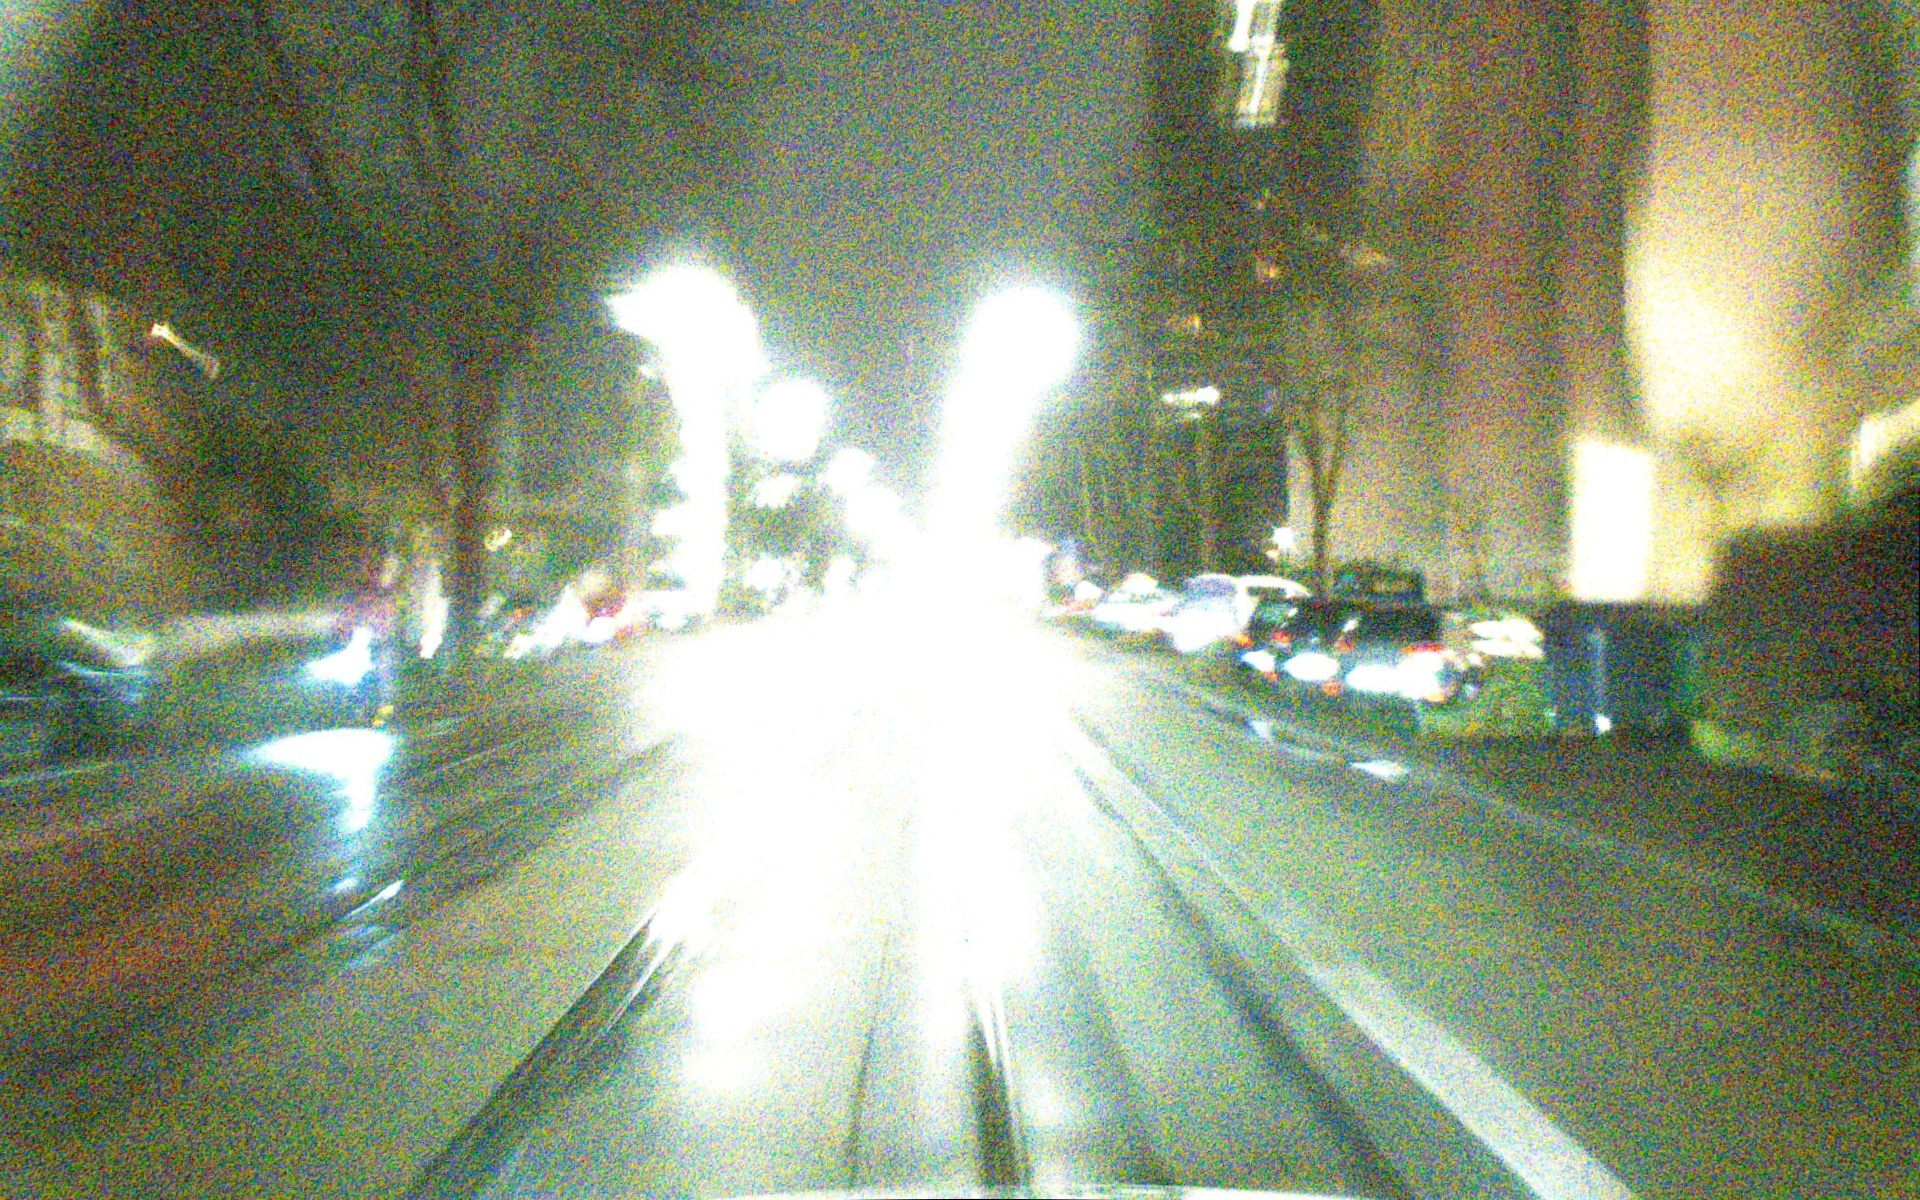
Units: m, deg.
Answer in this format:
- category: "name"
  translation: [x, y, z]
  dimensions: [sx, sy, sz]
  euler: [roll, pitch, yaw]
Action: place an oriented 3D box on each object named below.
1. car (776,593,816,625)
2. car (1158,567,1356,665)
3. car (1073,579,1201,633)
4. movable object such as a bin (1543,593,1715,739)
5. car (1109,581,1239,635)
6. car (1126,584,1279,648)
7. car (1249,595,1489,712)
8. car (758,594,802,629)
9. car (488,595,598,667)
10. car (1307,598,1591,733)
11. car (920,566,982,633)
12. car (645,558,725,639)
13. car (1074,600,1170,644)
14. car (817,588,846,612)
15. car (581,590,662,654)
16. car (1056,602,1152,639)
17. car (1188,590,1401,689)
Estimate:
- category: "car"
  translation: [-9.836, 0.530, 99.488]
  dimensions: [1.959, 1.816, 3.999]
  euler: [2, -1, -1]
- category: "car"
  translation: [6.241, 0.347, 34.563]
  dimensions: [4.139, 1.871, 1.933]
  euler: [2, 0, -43]
- category: "car"
  translation: [5.429, 0.180, 50.494]
  dimensions: [3.856, 1.560, 1.793]
  euler: [1, 0, -43]
- category: "movable object such as a bin"
  translation: [6.875, 0.647, 17.025]
  dimensions: [1.328, 1.432, 1.020]
  euler: [0, 0, -21]
- category: "car"
  translation: [6.205, 0.247, 47.677]
  dimensions: [1.790, 1.458, 3.830]
  euler: [2, 0, 43]
- category: "car"
  translation: [6.047, 0.353, 40.860]
  dimensions: [1.661, 1.428, 4.434]
  euler: [1, 2, 40]
- category: "car"
  translation: [5.875, 0.691, 23.516]
  dimensions: [1.775, 1.514, 3.834]
  euler: [0, 0, 41]
- category: "car"
  translation: [-9.870, 0.648, 91.100]
  dimensions: [2.066, 1.795, 4.962]
  euler: [2, -1, -3]
- category: "car"
  translation: [-9.147, 0.654, 36.526]
  dimensions: [1.577, 1.453, 3.806]
  euler: [2, 0, -2]
- category: "car"
  translation: [6.155, 0.783, 20.615]
  dimensions: [3.760, 1.483, 1.742]
  euler: [2, 0, -43]
- category: "car"
  translation: [-0.399, -0.028, 64.319]
  dimensions: [2.172, 2.484, 5.381]
  euler: [1, 0, -3]
- category: "car"
  translation: [-9.391, -0.080, 56.884]
  dimensions: [1.984, 2.542, 5.604]
  euler: [2, 1, -3]
- category: "car"
  translation: [6.556, 0.902, 66.680]
  dimensions: [2.018, 1.652, 3.807]
  euler: [2, 0, 41]
- category: "car"
  translation: [-10.100, 0.039, 130.610]
  dimensions: [1.982, 1.791, 3.999]
  euler: [2, -1, -1]
- category: "car"
  translation: [-9.121, 0.561, 44.764]
  dimensions: [1.608, 1.533, 3.617]
  euler: [1, 2, -3]
- category: "car"
  translation: [6.362, 0.913, 72.796]
  dimensions: [1.919, 1.480, 4.217]
  euler: [2, 0, 45]
- category: "car"
  translation: [5.497, 0.634, 26.910]
  dimensions: [1.573, 1.463, 3.808]
  euler: [2, 0, 44]
